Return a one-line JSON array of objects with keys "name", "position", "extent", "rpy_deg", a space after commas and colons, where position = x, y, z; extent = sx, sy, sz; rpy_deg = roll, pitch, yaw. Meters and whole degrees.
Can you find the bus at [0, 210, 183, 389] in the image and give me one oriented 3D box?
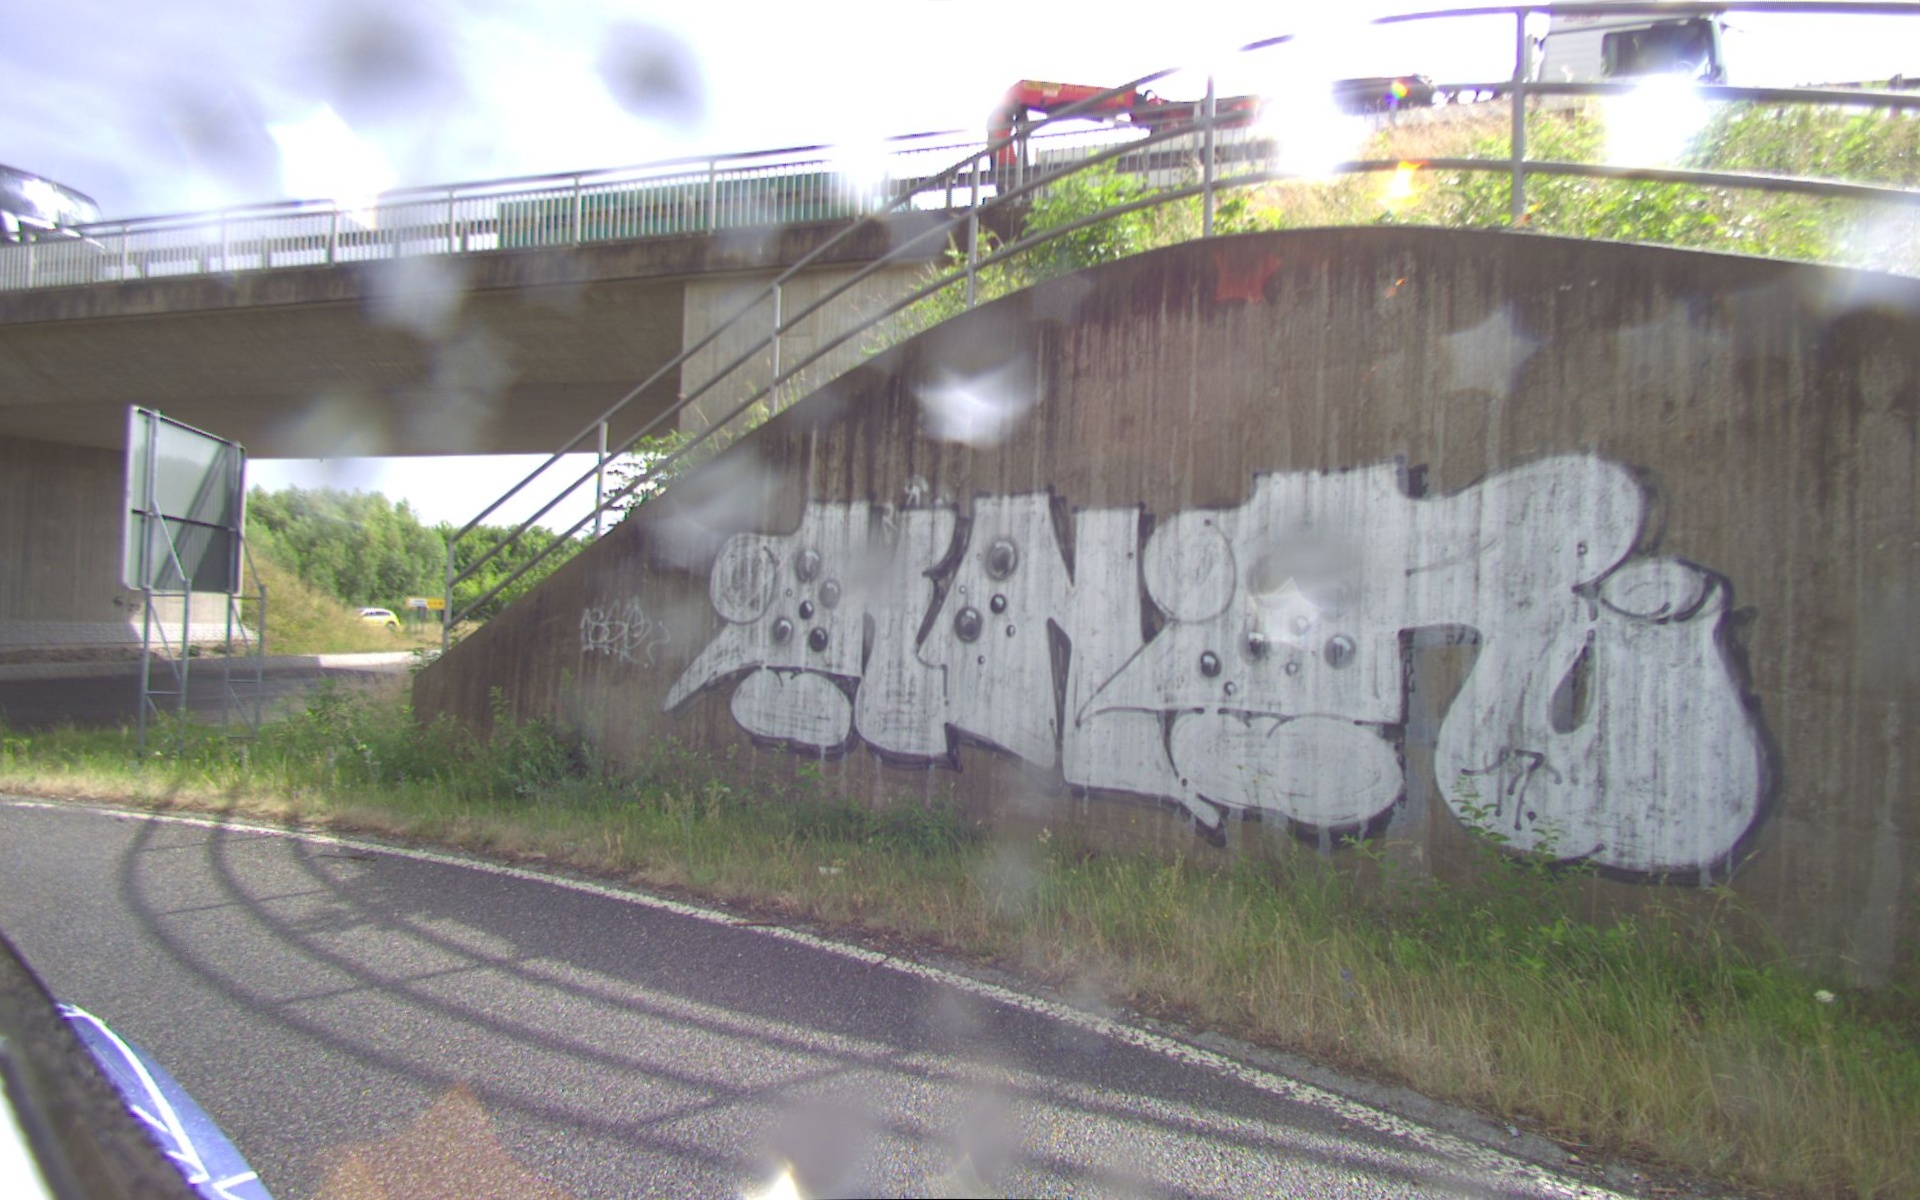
[{"name": "bus", "position": [-25.135, -6.638, 23.072], "extent": [14.299, 3.103, 2.606], "rpy_deg": [2, 0, 9]}]
